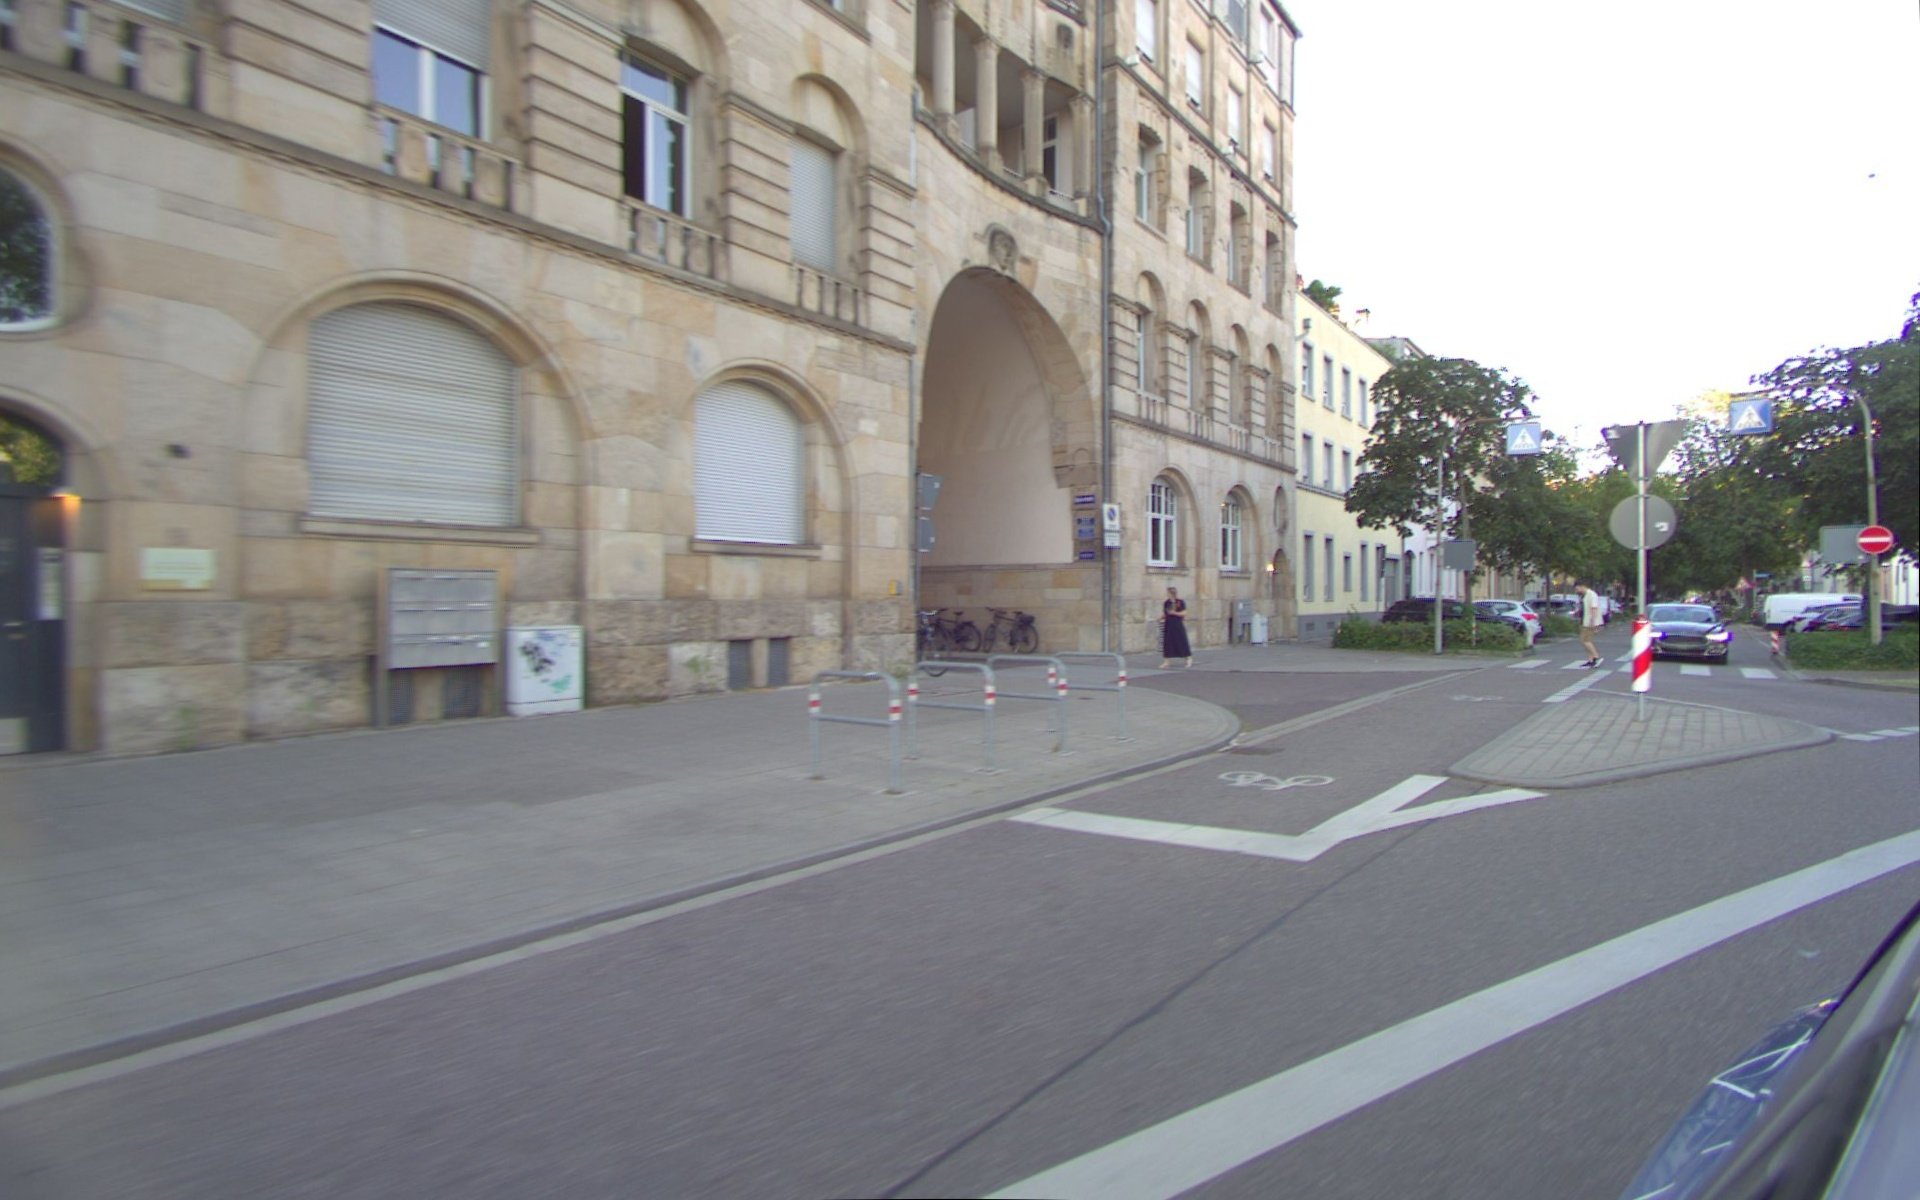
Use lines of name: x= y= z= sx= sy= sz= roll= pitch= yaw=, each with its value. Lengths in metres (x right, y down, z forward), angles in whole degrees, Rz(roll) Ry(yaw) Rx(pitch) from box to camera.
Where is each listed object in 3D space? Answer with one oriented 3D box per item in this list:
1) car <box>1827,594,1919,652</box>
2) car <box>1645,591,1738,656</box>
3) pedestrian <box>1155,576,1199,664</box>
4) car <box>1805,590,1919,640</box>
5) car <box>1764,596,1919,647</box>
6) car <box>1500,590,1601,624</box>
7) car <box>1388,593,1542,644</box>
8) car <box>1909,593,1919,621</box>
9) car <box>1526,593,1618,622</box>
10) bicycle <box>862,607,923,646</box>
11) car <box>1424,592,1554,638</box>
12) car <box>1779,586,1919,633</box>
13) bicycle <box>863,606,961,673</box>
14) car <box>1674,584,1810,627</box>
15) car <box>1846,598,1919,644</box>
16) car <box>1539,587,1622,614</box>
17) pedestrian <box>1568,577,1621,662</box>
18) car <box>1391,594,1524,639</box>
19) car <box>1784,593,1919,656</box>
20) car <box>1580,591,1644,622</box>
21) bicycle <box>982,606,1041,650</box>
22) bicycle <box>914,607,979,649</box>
car: x=26.781 y=0.633 z=27.925 sx=1.831 sy=1.576 sz=4.065 roll=1 pitch=0 yaw=-38
car: x=18.711 y=0.573 z=25.922 sx=1.810 sy=1.501 sz=4.081 roll=1 pitch=0 yaw=36
pedestrian: x=4.370 y=0.392 z=20.381 sx=0.575 sy=1.731 sz=0.711 roll=0 pitch=-1 yaw=40
car: x=31.855 y=0.511 z=34.734 sx=1.963 sy=1.638 sz=4.065 roll=1 pitch=0 yaw=-38
car: x=29.306 y=0.674 z=33.358 sx=1.963 sy=1.571 sz=4.065 roll=1 pitch=0 yaw=-38
car: x=28.499 y=0.315 z=48.894 sx=4.044 sy=1.571 sz=1.974 roll=1 pitch=0 yaw=37
car: x=17.018 y=0.587 z=34.195 sx=4.376 sy=1.578 sz=1.812 roll=1 pitch=0 yaw=39
car: x=50.314 y=0.392 z=50.233 sx=1.694 sy=1.437 sz=4.398 roll=1 pitch=0 yaw=-33
car: x=34.909 y=0.410 z=57.812 sx=1.963 sy=1.571 sz=4.065 roll=1 pitch=0 yaw=-38
bicycle: x=-1.764 y=0.680 z=26.357 sx=1.563 sy=0.983 sz=0.601 roll=1 pitch=-1 yaw=36
car: x=19.794 y=0.540 z=37.940 sx=4.049 sy=1.590 sz=1.811 roll=1 pitch=0 yaw=40
car: x=39.452 y=0.405 z=44.381 sx=2.079 sy=1.927 sz=5.087 roll=1 pitch=0 yaw=-30
bicycle: x=-0.852 y=0.660 z=17.608 sx=1.845 sy=1.086 sz=0.423 roll=1 pitch=-1 yaw=36
car: x=39.298 y=0.267 z=50.981 sx=1.928 sy=2.048 sz=5.087 roll=1 pitch=0 yaw=-30
car: x=34.038 y=0.747 z=35.586 sx=1.963 sy=1.571 sz=4.065 roll=1 pitch=0 yaw=-38
car: x=39.085 y=0.019 z=63.756 sx=4.372 sy=1.633 sz=1.707 roll=1 pitch=0 yaw=36
pedestrian: x=13.778 y=0.417 z=21.977 sx=0.804 sy=1.815 sz=0.593 roll=1 pitch=-1 yaw=-21
car: x=17.934 y=0.583 z=36.540 sx=4.047 sy=1.504 sz=1.812 roll=1 pitch=0 yaw=39
car: x=24.709 y=0.635 z=26.908 sx=1.831 sy=1.576 sz=4.065 roll=1 pitch=0 yaw=-38
car: x=50.081 y=0.506 z=77.777 sx=4.044 sy=2.323 sz=1.974 roll=1 pitch=0 yaw=37
bicycle: x=1.209 y=0.658 z=24.085 sx=1.433 sy=0.999 sz=0.355 roll=1 pitch=-1 yaw=37
bicycle: x=-0.352 y=0.685 z=25.392 sx=1.723 sy=0.999 sz=0.408 roll=1 pitch=-1 yaw=37
